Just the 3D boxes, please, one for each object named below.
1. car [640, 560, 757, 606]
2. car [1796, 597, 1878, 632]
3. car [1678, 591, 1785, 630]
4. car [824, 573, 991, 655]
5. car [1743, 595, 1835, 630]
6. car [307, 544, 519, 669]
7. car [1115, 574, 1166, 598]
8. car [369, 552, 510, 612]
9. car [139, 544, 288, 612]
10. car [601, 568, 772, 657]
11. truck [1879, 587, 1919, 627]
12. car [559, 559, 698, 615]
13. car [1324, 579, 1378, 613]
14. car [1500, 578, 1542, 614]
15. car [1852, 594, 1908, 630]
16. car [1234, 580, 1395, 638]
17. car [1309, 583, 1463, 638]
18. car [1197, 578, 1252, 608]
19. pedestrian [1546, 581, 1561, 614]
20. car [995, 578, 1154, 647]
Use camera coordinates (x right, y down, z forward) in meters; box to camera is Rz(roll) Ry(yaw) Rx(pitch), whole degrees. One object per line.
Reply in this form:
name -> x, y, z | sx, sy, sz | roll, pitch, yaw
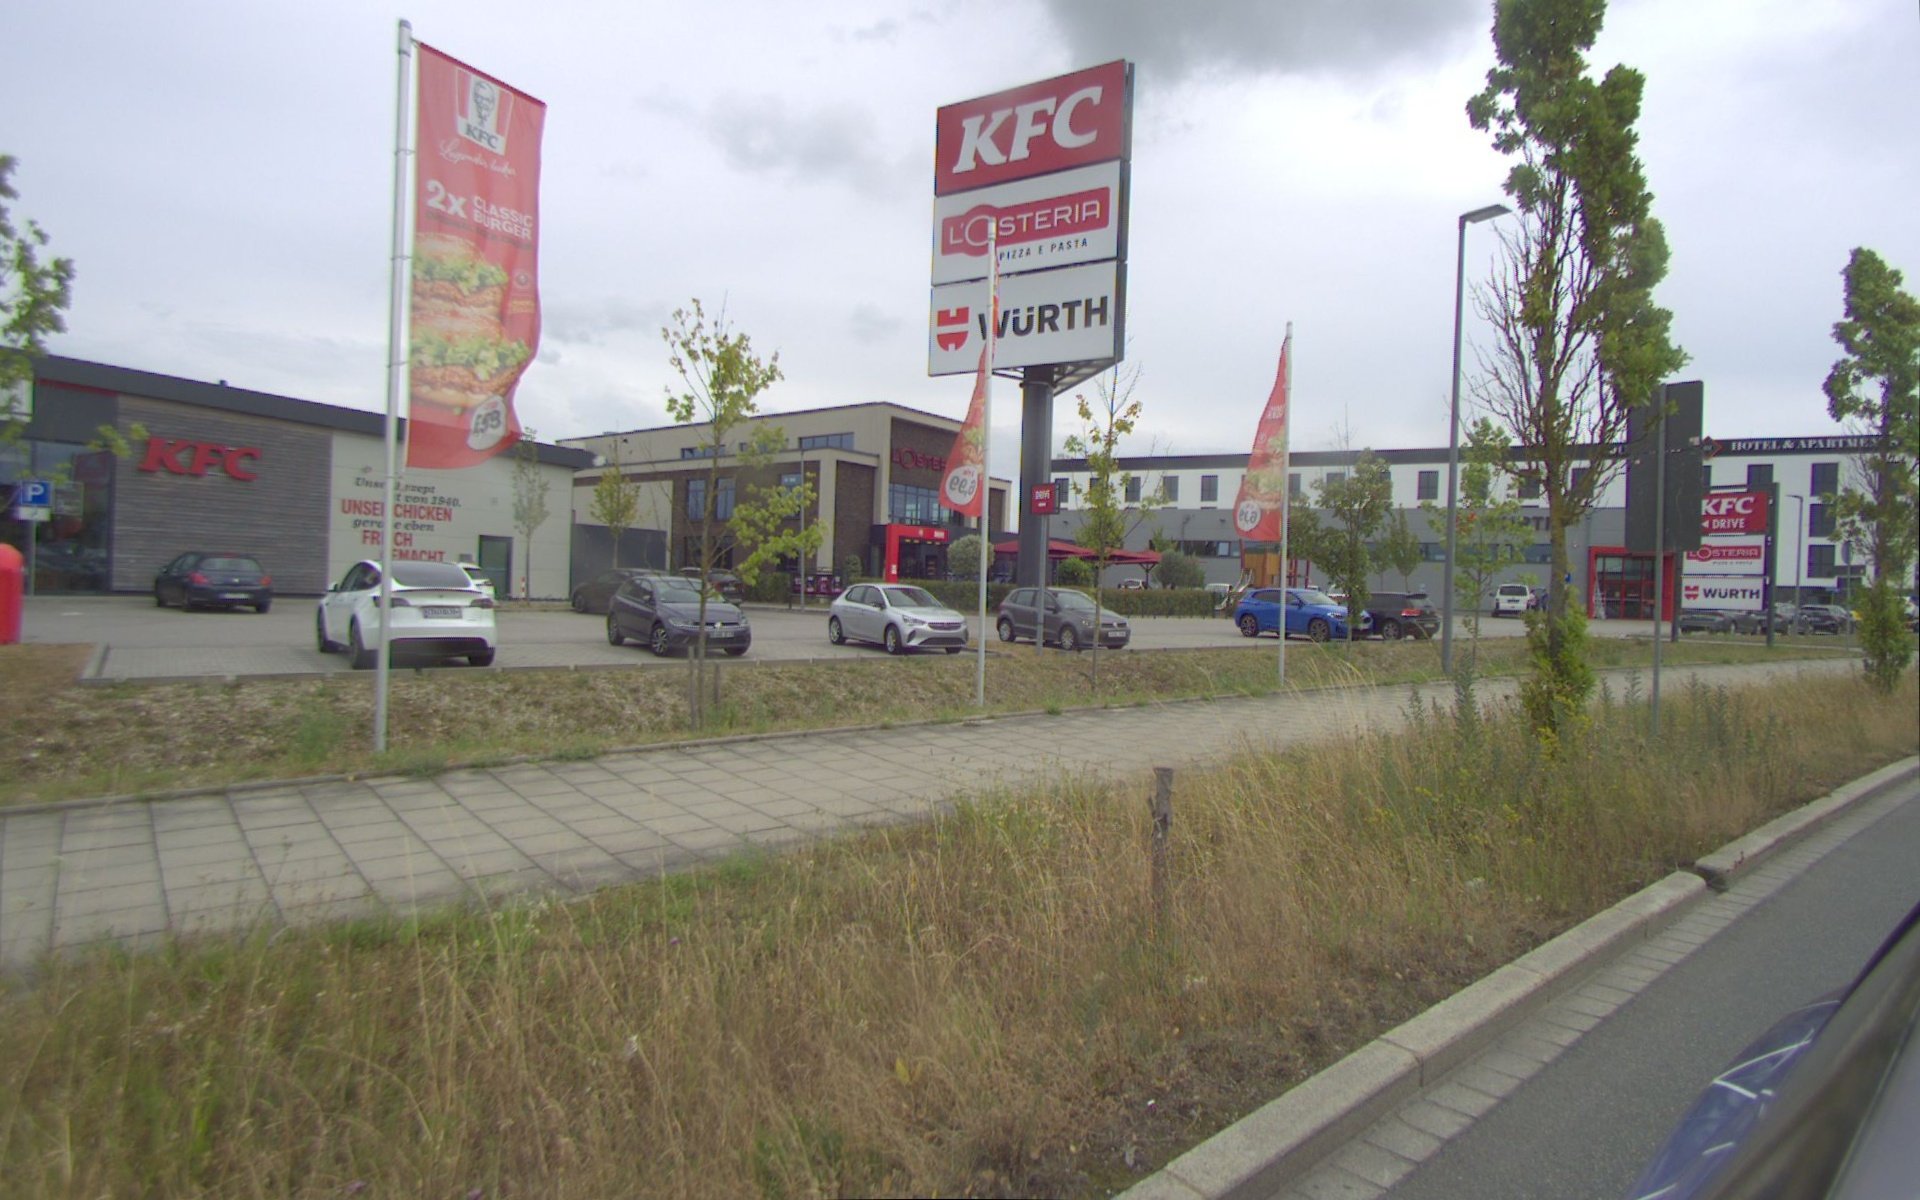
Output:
car -> -9.819, -0.654, 37.887 | 4.553, 1.538, 1.871 | 3, 2, 38
car -> 41.918, 0.657, 48.335 | 4.522, 1.515, 2.000 | 0, 2, -36
car -> 32.055, 0.457, 42.018 | 4.736, 1.478, 1.970 | 1, 1, -32
car -> -1.241, 0.249, 22.264 | 1.866, 1.499, 3.875 | 1, 3, -35
car -> 36.792, 0.564, 44.891 | 4.786, 1.455, 1.870 | 1, 1, -35
car -> -8.910, -0.001, 16.278 | 2.052, 1.665, 4.571 | 1, 3, -41
car -> 12.891, -0.985, 72.061 | 2.064, 1.538, 4.527 | 3, 2, 30
car -> -15.267, -0.565, 29.594 | 4.557, 1.538, 2.051 | 4, 2, 40
car -> -19.246, -0.587, 26.037 | 4.356, 1.538, 2.019 | 3, 2, 38
car -> -5.466, 0.169, 19.908 | 1.904, 1.503, 3.999 | 0, 2, -37
truck -> 59.471, 0.460, 62.904 | 8.066, 2.355, 2.232 | 1, 1, -39
car -> -10.448, -0.430, 31.745 | 4.553, 1.538, 1.950 | 3, 2, 38
car -> 21.020, -0.228, 54.260 | 1.983, 1.718, 4.742 | 2, 1, 30
car -> 33.302, -0.255, 60.154 | 1.981, 2.012, 4.592 | 2, 1, 27
car -> 47.179, 0.620, 51.858 | 4.337, 1.707, 1.765 | 1, 1, -43
car -> 10.544, 0.225, 30.413 | 1.927, 1.539, 4.280 | 1, 1, -31
car -> 13.027, 0.282, 31.198 | 1.941, 1.512, 4.006 | 1, 1, -29
car -> 15.178, -0.403, 57.941 | 1.969, 1.649, 4.281 | 2, 1, 30
pedestrian -> 34.843, -0.141, 59.408 | 0.608, 1.892, 0.795 | 1, 0, 24
car -> 2.724, 0.252, 24.827 | 1.853, 1.512, 3.772 | 1, 1, -34
